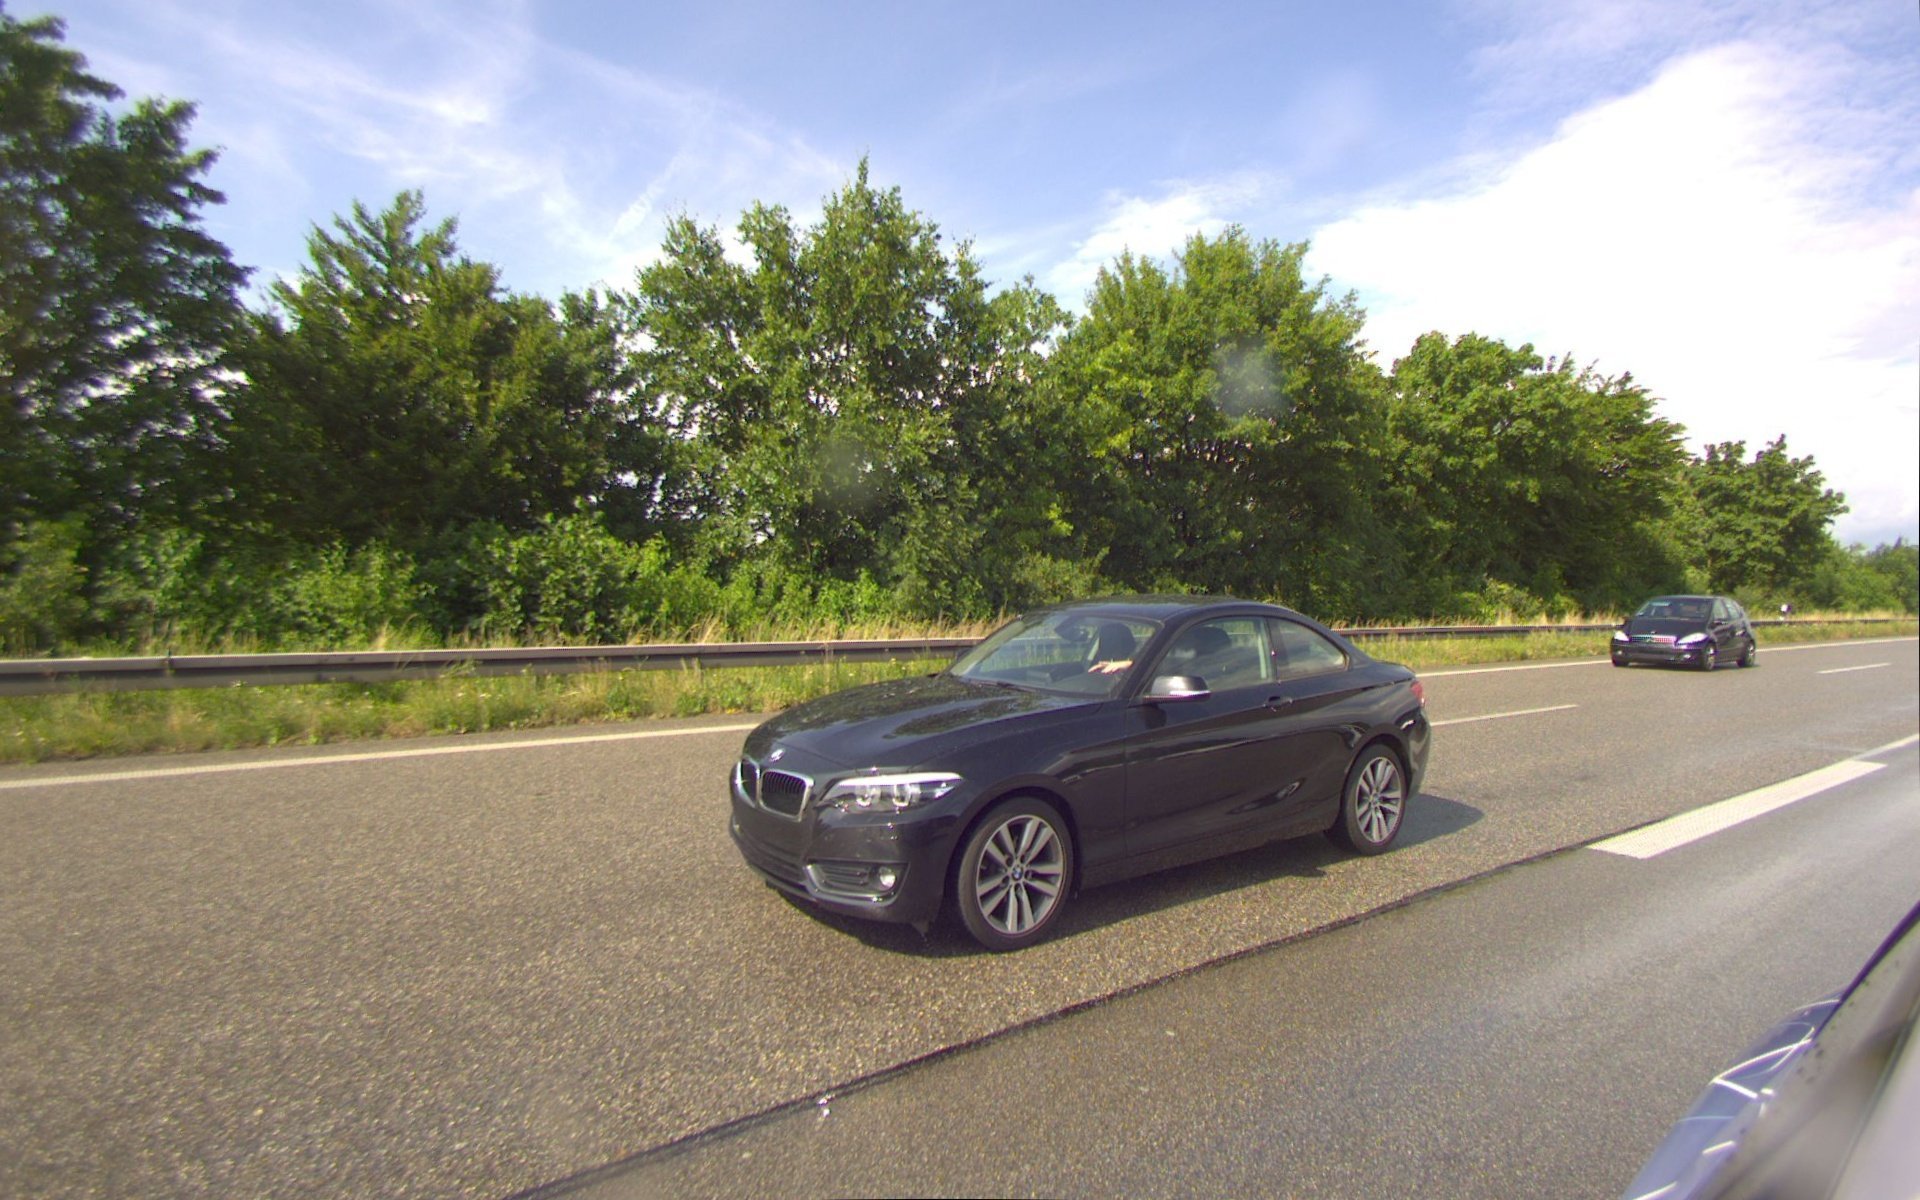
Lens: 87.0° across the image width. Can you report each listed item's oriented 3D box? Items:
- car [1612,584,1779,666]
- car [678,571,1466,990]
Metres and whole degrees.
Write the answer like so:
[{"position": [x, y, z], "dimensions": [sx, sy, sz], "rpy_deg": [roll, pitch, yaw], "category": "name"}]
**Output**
[{"position": [15.875, 0.464, 21.797], "dimensions": [3.926, 1.588, 1.854], "rpy_deg": [0, 2, -37], "category": "car"}, {"position": [0.803, 0.612, 5.591], "dimensions": [4.176, 1.482, 1.854], "rpy_deg": [0, 2, -36], "category": "car"}]
